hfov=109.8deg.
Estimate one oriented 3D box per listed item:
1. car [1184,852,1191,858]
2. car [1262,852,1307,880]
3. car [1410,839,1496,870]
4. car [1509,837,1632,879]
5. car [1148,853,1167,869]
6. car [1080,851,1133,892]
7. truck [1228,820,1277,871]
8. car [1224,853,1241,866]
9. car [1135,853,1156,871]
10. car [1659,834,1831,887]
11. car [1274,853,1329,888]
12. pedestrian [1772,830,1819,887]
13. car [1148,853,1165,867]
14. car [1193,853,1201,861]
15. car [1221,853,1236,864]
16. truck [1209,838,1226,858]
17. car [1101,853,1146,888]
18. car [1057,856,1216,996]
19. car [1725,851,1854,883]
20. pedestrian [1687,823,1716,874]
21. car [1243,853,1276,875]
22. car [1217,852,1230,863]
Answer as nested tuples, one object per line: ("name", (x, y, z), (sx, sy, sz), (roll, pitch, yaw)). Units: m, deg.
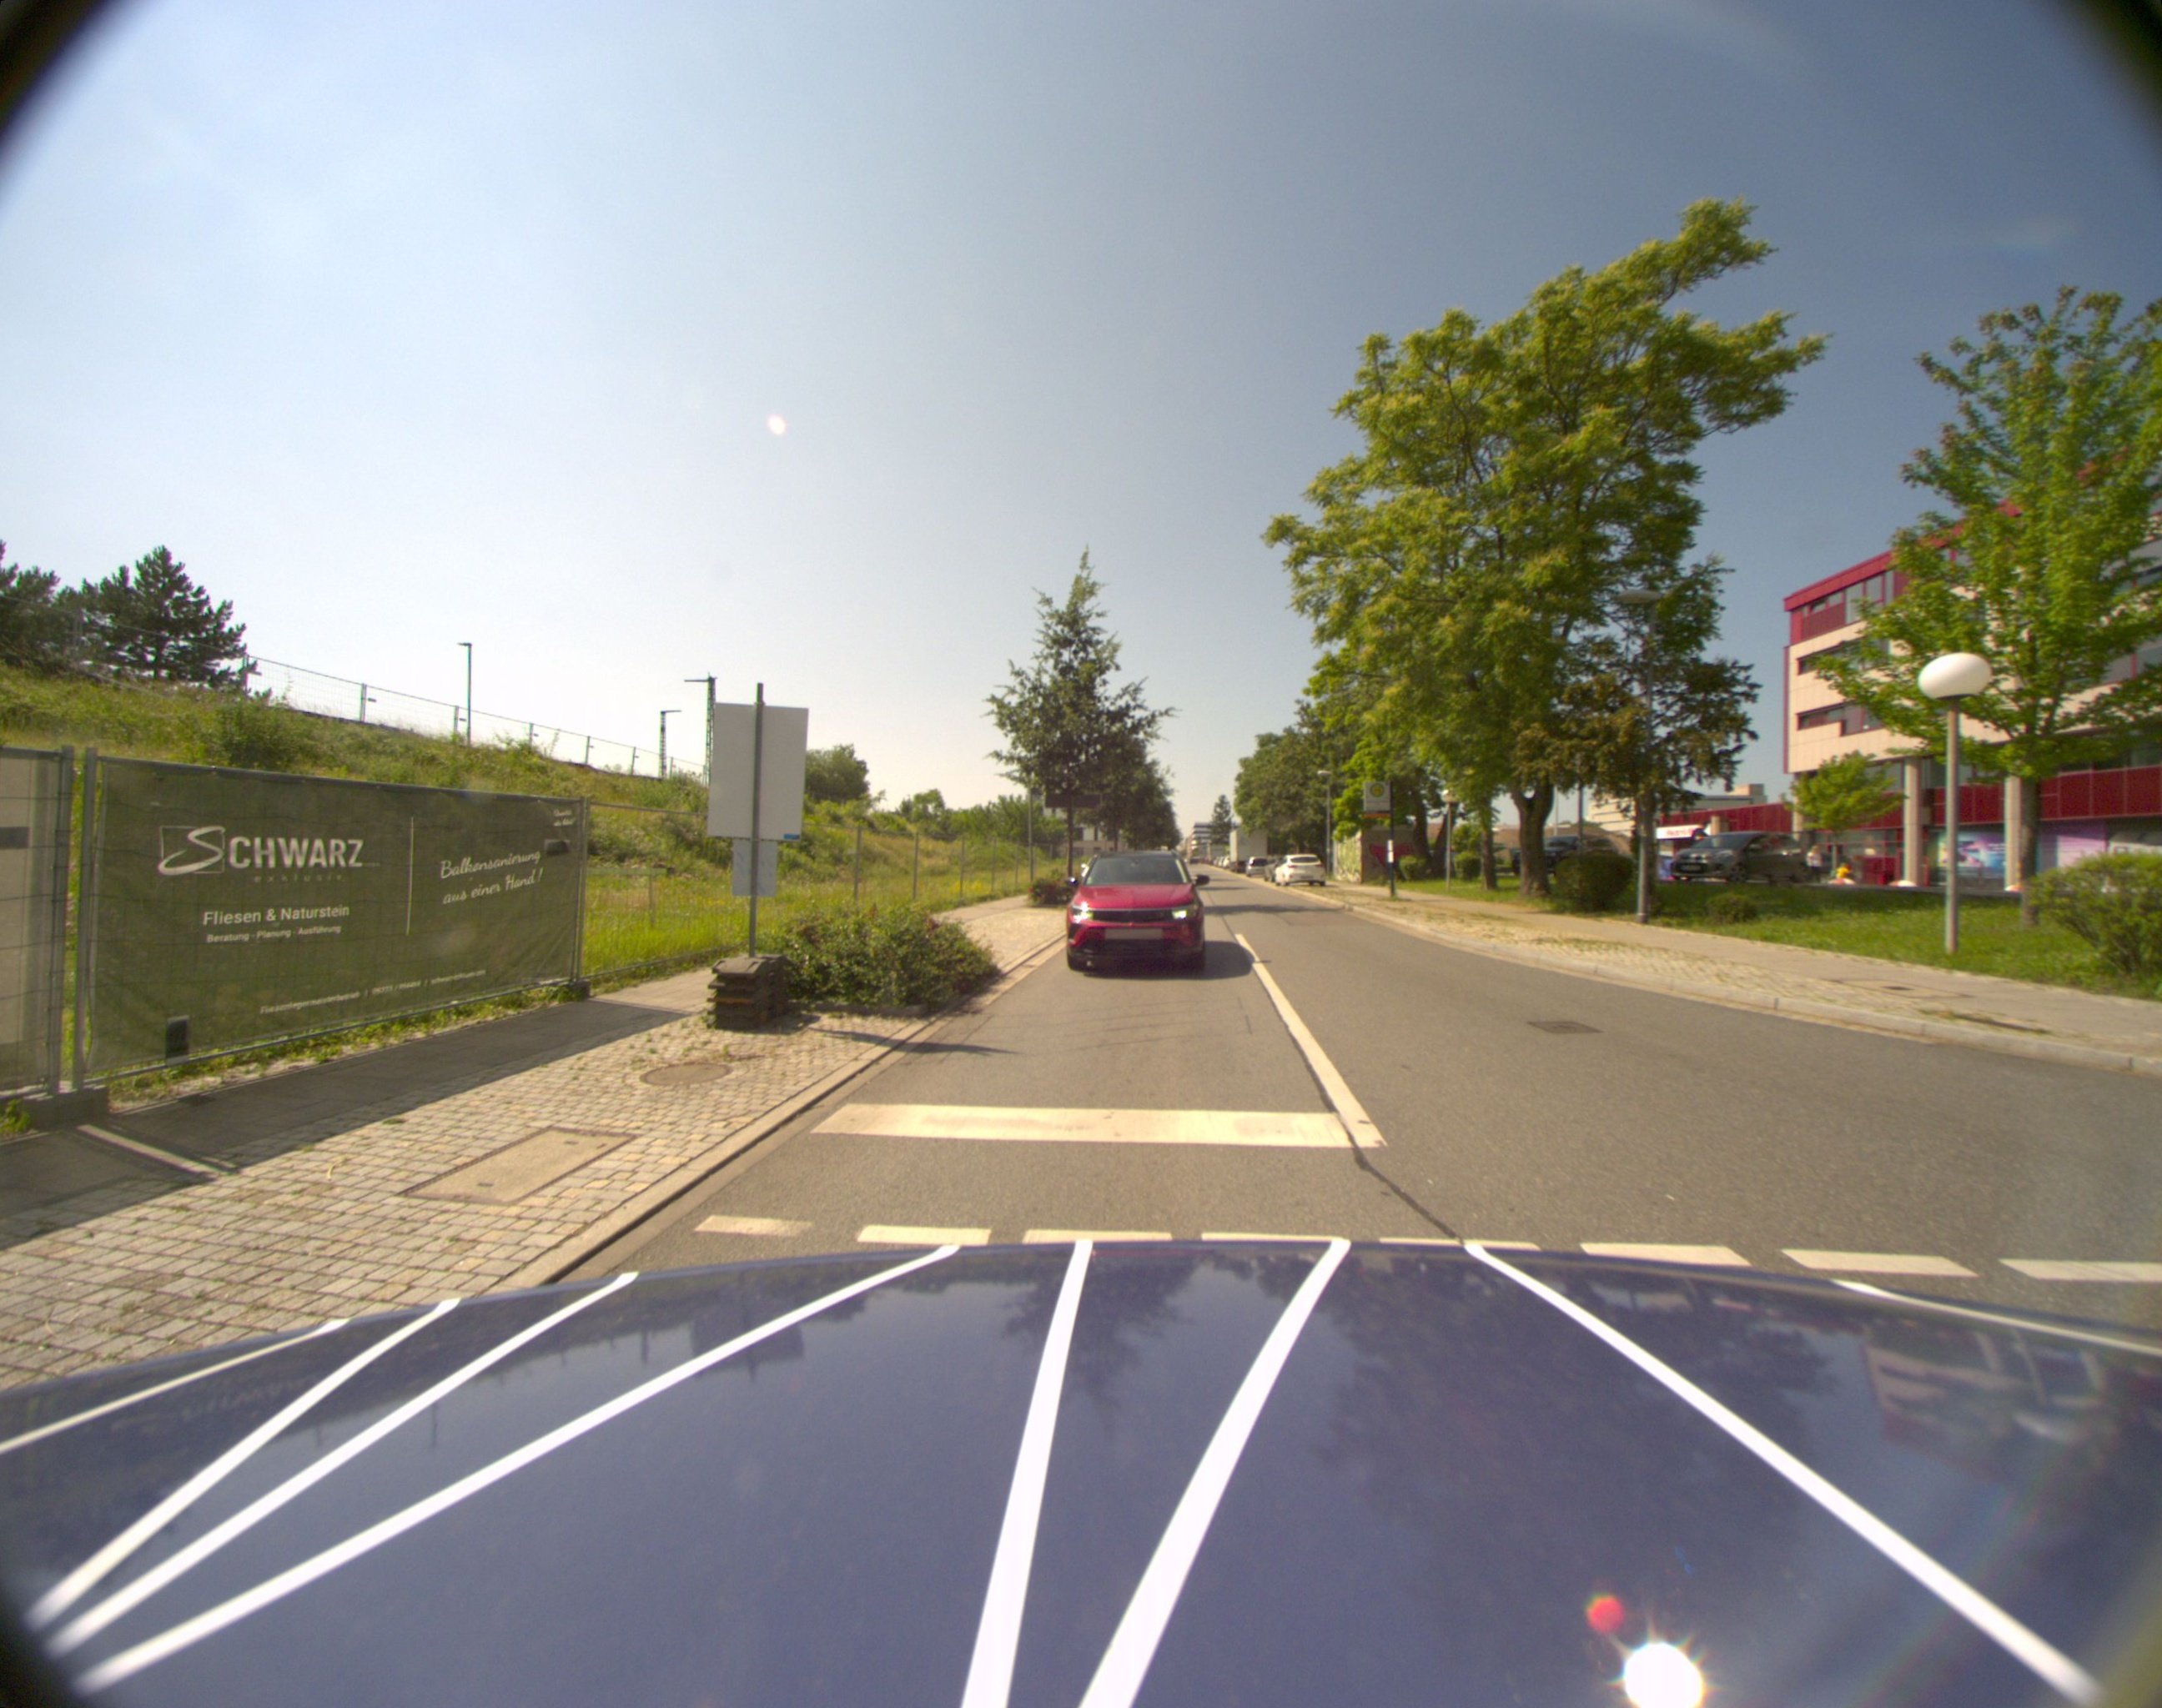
("car", (29.911, 0.310, 213.401), (1.763, 1.783, 4.003), (0, 0, 10))
("car", (11.379, 0.649, 42.685), (1.814, 1.506, 4.002), (-1, 0, 6))
("car", (22.326, 0.056, 45.562), (4.722, 1.793, 1.996), (0, -1, -23))
("car", (19.574, 0.130, 30.373), (4.822, 1.484, 1.849), (-2, 0, -25))
("car", (8.246, 0.731, 81.456), (1.846, 1.606, 4.003), (1, 0, 7))
("car", (1.202, 0.735, 33.278), (1.846, 1.606, 4.373), (3, 0, 7))
("truck", (14.989, -0.698, 67.042), (3.351, 4.119, 9.284), (-1, 0, 8))
("car", (18.253, 0.636, 91.393), (1.813, 1.506, 4.003), (-2, 0, 9))
("car", (6.177, 0.768, 72.646), (1.846, 1.606, 4.003), (1, 0, 7))
("car", (18.975, 0.168, 21.771), (3.992, 1.330, 1.716), (-2, 0, -14))
("car", (10.203, 0.736, 35.458), (1.765, 1.484, 4.002), (-2, 0, 6))
("pedestrian", (19.329, 0.128, 20.563), (0.565, 1.518, 0.756), (0, 0, -13))
("car", (8.859, 0.695, 89.381), (1.846, 1.606, 4.003), (1, 0, 7))
("car", (25.153, 0.702, 164.981), (1.789, 1.783, 4.003), (0, 0, 9))
("car", (19.878, 0.591, 102.331), (1.813, 1.506, 4.003), (-2, 0, 9))
("truck", (23.458, -0.936, 130.277), (2.700, 3.300, 7.349), (0, 0, 11))
("car", (2.158, 0.781, 37.548), (1.846, 1.606, 4.003), (2, 0, 7))
("car", (0.841, 0.841, 10.930), (1.820, 1.594, 4.309), (0, 0, 6))
("car", (32.998, 0.580, 35.473), (1.726, 1.443, 4.228), (0, 0, -40))
("pedestrian", (19.038, -0.161, 23.313), (0.563, 1.518, 0.758), (0, 0, 29))
("car", (12.752, 0.696, 54.377), (1.814, 1.506, 4.002), (-2, 0, 6))
("car", (21.535, 0.513, 114.767), (1.813, 1.506, 4.003), (-2, 0, 9))
